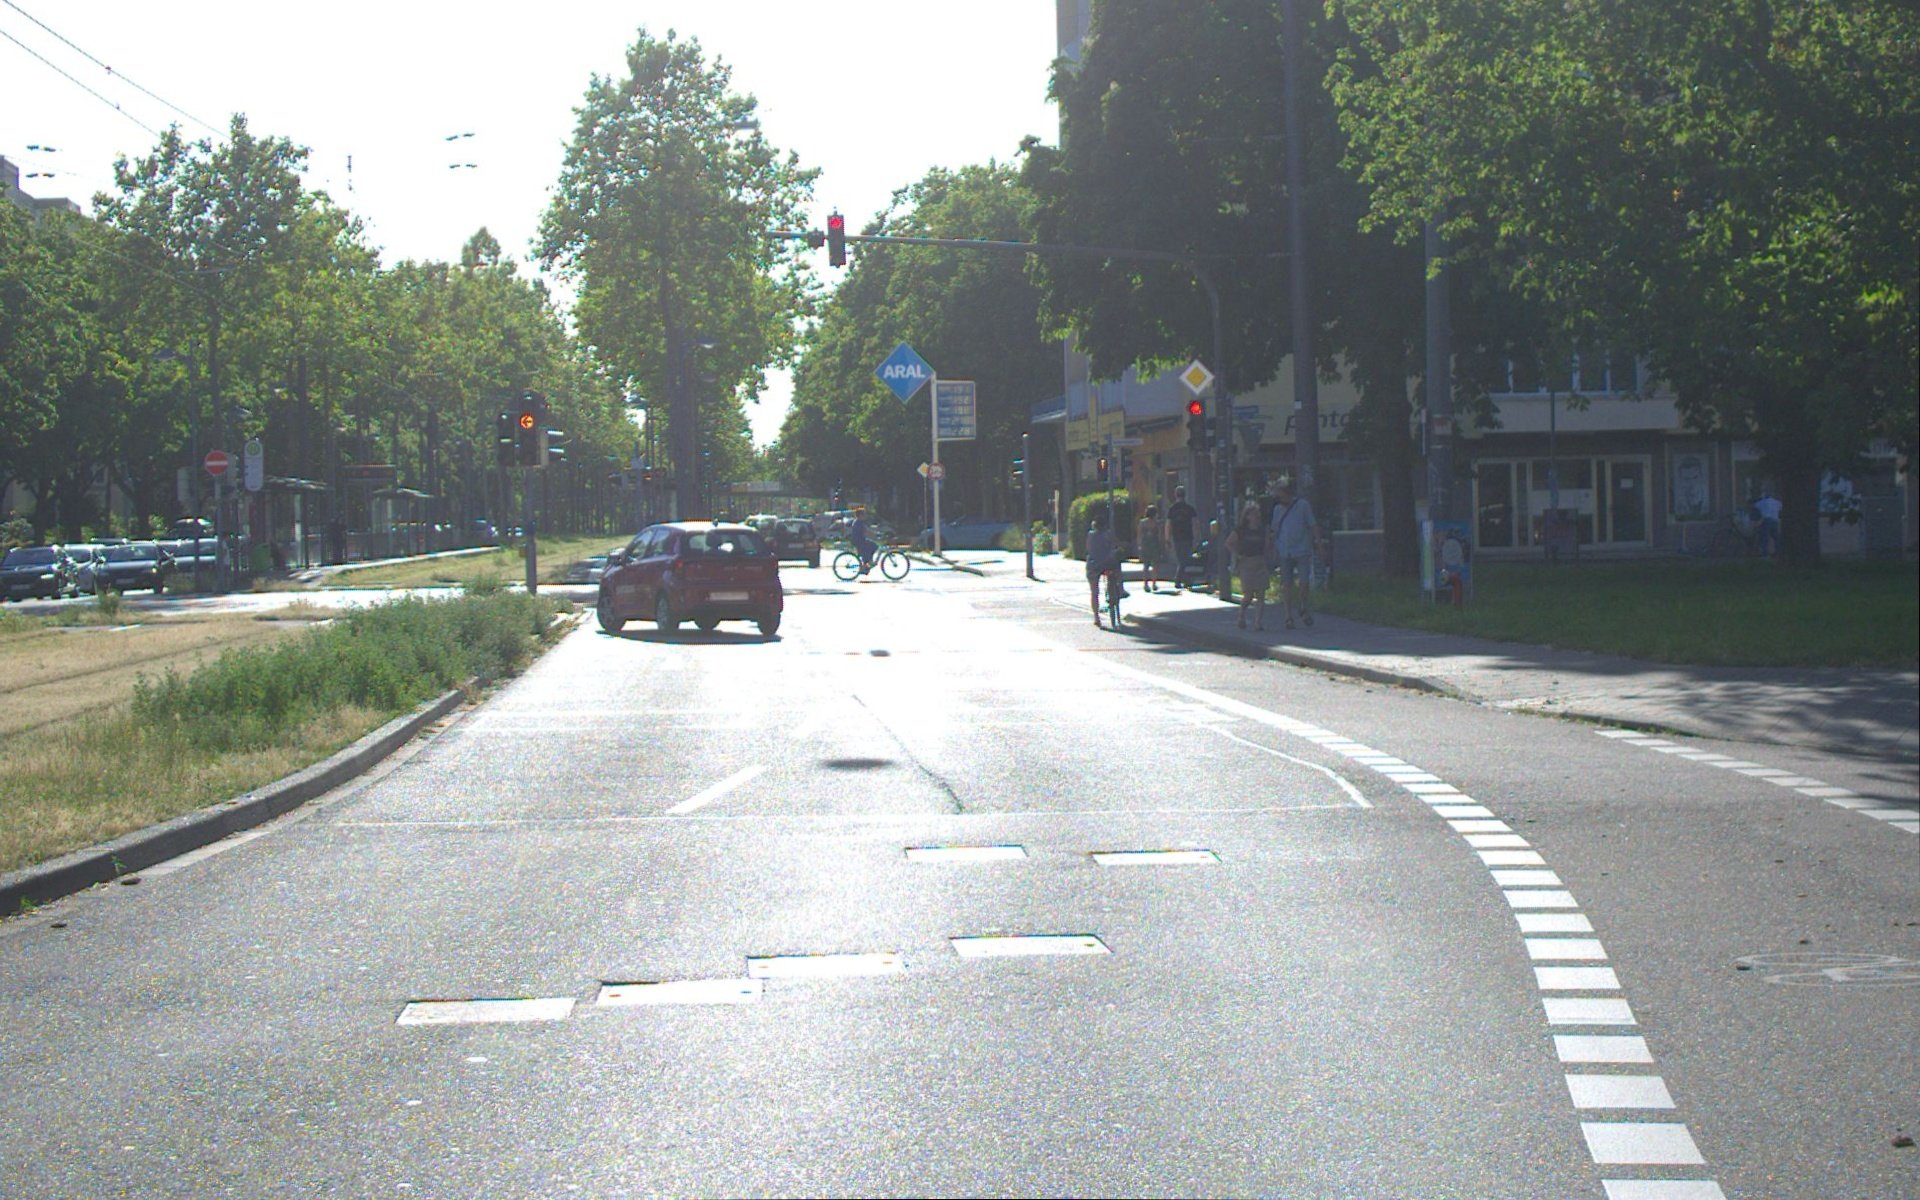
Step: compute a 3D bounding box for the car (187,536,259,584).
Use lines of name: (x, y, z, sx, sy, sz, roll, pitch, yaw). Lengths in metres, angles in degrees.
car: (-22.272, -1.227, 103.959, 1.566, 1.397, 3.916, 1, 1, -4)

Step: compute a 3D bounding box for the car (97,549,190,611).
car: (-22.200, -0.564, 93.605, 1.687, 1.527, 4.362, -2, 2, -4)

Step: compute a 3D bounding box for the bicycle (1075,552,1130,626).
bicycle: (1.994, -0.163, 48.166, 0.648, 0.969, 1.804, 1, 2, -1)

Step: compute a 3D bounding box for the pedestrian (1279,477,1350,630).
pedestrian: (4.298, -0.571, 41.747, 0.703, 1.783, 0.694, -4, 3, 2)

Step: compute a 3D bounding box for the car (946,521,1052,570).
car: (1.569, -2.173, 136.858, 3.988, 1.853, 2.011, 1, 1, 8)

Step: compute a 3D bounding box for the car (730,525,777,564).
car: (-8.949, -2.412, 148.575, 1.893, 1.605, 4.501, 1, 2, -5)

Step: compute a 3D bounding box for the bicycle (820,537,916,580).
bicycle: (-2.280, -1.027, 85.228, 2.253, 0.984, 0.788, 0, 7, 12)

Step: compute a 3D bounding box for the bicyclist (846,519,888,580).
bicyclist: (-2.303, -1.251, 85.212, 0.769, 1.466, 0.897, -2, 2, 13)

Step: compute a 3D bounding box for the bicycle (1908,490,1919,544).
bicycle: (18.643, -1.573, 65.344, 0.597, 1.031, 1.796, 1, 2, -4)

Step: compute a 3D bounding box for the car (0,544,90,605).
car: (-24.885, -0.700, 93.029, 1.806, 1.527, 4.362, -2, 2, -4)

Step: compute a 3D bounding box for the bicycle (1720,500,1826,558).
bicycle: (20.297, -1.775, 85.861, 2.470, 1.394, 0.608, 1, 1, -5)

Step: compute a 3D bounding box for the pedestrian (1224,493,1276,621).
pedestrian: (3.532, -0.532, 41.931, 0.529, 1.523, 0.627, -3, 1, 2)

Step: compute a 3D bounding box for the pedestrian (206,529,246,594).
pedestrian: (-18.361, -0.954, 86.010, 0.890, 1.601, 0.613, 1, 1, -4)

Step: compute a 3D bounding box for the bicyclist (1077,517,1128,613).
bicyclist: (1.992, -0.500, 48.225, 0.638, 1.318, 0.803, 1, 1, -1)

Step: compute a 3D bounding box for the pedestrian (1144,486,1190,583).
pedestrian: (3.604, -1.140, 59.879, 0.730, 1.676, 0.532, 1, 1, 9)

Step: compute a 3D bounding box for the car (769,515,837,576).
car: (-5.046, -1.766, 110.221, 1.968, 1.853, 4.001, 1, 2, -5)

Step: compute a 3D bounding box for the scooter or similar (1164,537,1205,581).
scooter or similar: (3.872, -0.702, 59.279, 0.597, 0.735, 0.681, 1, 1, -4)

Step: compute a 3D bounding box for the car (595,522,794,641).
car: (-3.629, -0.277, 46.450, 1.694, 1.503, 3.700, 0, 2, -21)

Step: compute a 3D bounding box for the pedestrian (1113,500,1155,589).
pedestrian: (3.034, -0.968, 59.846, 0.647, 1.517, 0.496, 1, 1, 9)

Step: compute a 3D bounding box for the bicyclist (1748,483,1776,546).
bicyclist: (19.885, -2.122, 85.233, 0.527, 1.562, 0.464, 1, 1, -6)
